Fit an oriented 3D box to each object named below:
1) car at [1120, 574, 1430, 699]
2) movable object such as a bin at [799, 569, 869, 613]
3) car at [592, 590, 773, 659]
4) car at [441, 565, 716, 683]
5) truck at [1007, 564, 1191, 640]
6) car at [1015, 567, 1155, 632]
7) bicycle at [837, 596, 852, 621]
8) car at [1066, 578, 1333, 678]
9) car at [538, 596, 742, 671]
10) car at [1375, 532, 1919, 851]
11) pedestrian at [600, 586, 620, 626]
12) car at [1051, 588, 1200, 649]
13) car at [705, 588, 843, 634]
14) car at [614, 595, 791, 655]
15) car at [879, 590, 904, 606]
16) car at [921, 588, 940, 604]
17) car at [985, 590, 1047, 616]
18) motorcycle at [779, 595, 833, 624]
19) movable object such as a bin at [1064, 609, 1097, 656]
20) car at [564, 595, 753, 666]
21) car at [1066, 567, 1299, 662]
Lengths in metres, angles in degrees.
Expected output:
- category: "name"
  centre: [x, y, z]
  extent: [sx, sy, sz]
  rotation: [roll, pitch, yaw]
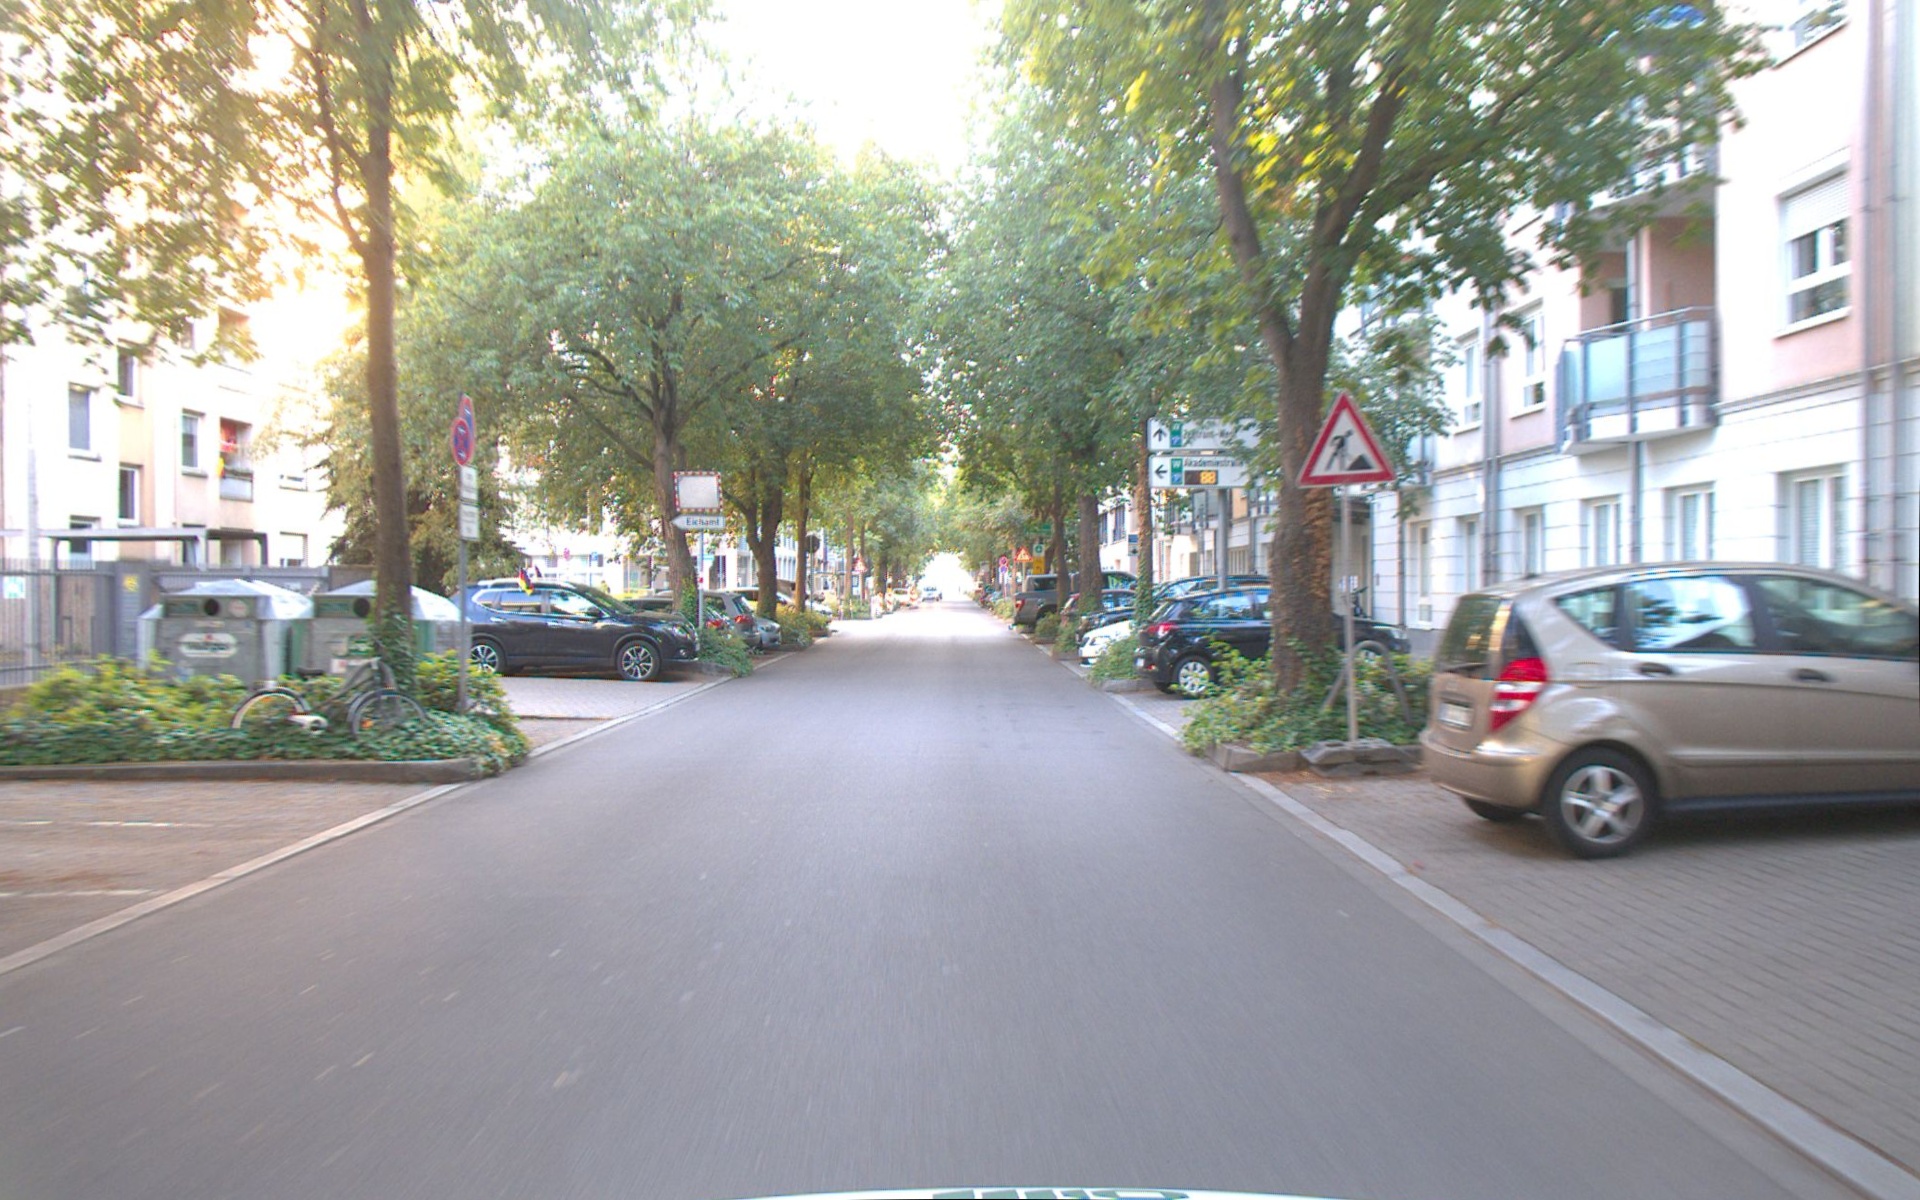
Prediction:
- category: "car"
  centre: [4.519, 0.502, 24.118]
  extent: [4.005, 1.476, 1.932]
  rotation: [-4, 0, -6]
- category: "movable object such as a bin"
  centre: [-7.323, -0.535, 95.901]
  extent: [3.968, 2.424, 2.781]
  rotation: [-1, 1, -6]
- category: "car"
  centre: [-6.584, 0.574, 39.548]
  extent: [3.903, 1.593, 1.930]
  rotation: [0, 0, 5]
- category: "car"
  centre: [-6.666, 0.399, 29.277]
  extent: [4.414, 1.989, 1.999]
  rotation: [0, 0, -2]
- category: "truck"
  centre: [4.426, 0.047, 53.353]
  extent: [5.767, 2.351, 2.212]
  rotation: [0, 0, 0]
- category: "car"
  centre: [4.201, -0.018, 56.093]
  extent: [4.507, 2.102, 2.197]
  rotation: [-1, 0, -2]
- category: "bicycle"
  centre: [-5.671, 0.398, 81.389]
  extent: [0.670, 1.173, 1.979]
  rotation: [-1, 1, -5]
- category: "car"
  centre: [4.296, 0.489, 30.138]
  extent: [4.507, 1.493, 1.796]
  rotation: [-3, 0, -1]
- category: "car"
  centre: [-6.604, 0.668, 34.501]
  extent: [3.907, 1.489, 1.922]
  rotation: [0, 0, -2]
- category: "car"
  centre: [4.746, 0.458, 10.069]
  extent: [3.889, 1.613, 1.916]
  rotation: [-3, 0, -1]
- category: "pedestrian"
  centre: [-16.595, 0.264, 78.433]
  extent: [0.871, 1.883, 0.874]
  rotation: [-1, 0, -8]
- category: "car"
  centre: [4.334, 0.463, 43.733]
  extent: [3.700, 1.571, 1.877]
  rotation: [0, 0, -2]
- category: "car"
  centre: [-6.485, 0.357, 57.960]
  extent: [4.523, 1.579, 2.076]
  rotation: [0, 0, 2]
- category: "car"
  centre: [-6.512, 0.619, 42.177]
  extent: [4.200, 1.454, 1.879]
  rotation: [0, 0, -1]
- category: "car"
  centre: [-5.879, -0.186, 140.941]
  extent: [1.954, 1.310, 3.996]
  rotation: [0, 0, -5]
- category: "car"
  centre: [-3.064, -0.459, 173.118]
  extent: [1.969, 1.641, 4.118]
  rotation: [0, 0, -2]
- category: "car"
  centre: [3.549, 0.199, 104.755]
  extent: [3.904, 1.612, 2.000]
  rotation: [0, 0, 1]
- category: "motorcycle"
  centre: [-7.231, 0.435, 77.758]
  extent: [2.335, 1.304, 1.052]
  rotation: [-1, 1, -41]
- category: "movable object such as a bin"
  centre: [2.992, 0.802, 41.166]
  extent: [0.745, 1.103, 0.785]
  rotation: [-2, 0, 0]
- category: "car"
  centre: [-6.664, 0.653, 36.882]
  extent: [3.907, 1.517, 1.824]
  rotation: [0, 0, -3]
- category: "car"
  centre: [4.694, 0.293, 35.316]
  extent: [4.552, 1.645, 2.008]
  rotation: [-4, 0, -5]
